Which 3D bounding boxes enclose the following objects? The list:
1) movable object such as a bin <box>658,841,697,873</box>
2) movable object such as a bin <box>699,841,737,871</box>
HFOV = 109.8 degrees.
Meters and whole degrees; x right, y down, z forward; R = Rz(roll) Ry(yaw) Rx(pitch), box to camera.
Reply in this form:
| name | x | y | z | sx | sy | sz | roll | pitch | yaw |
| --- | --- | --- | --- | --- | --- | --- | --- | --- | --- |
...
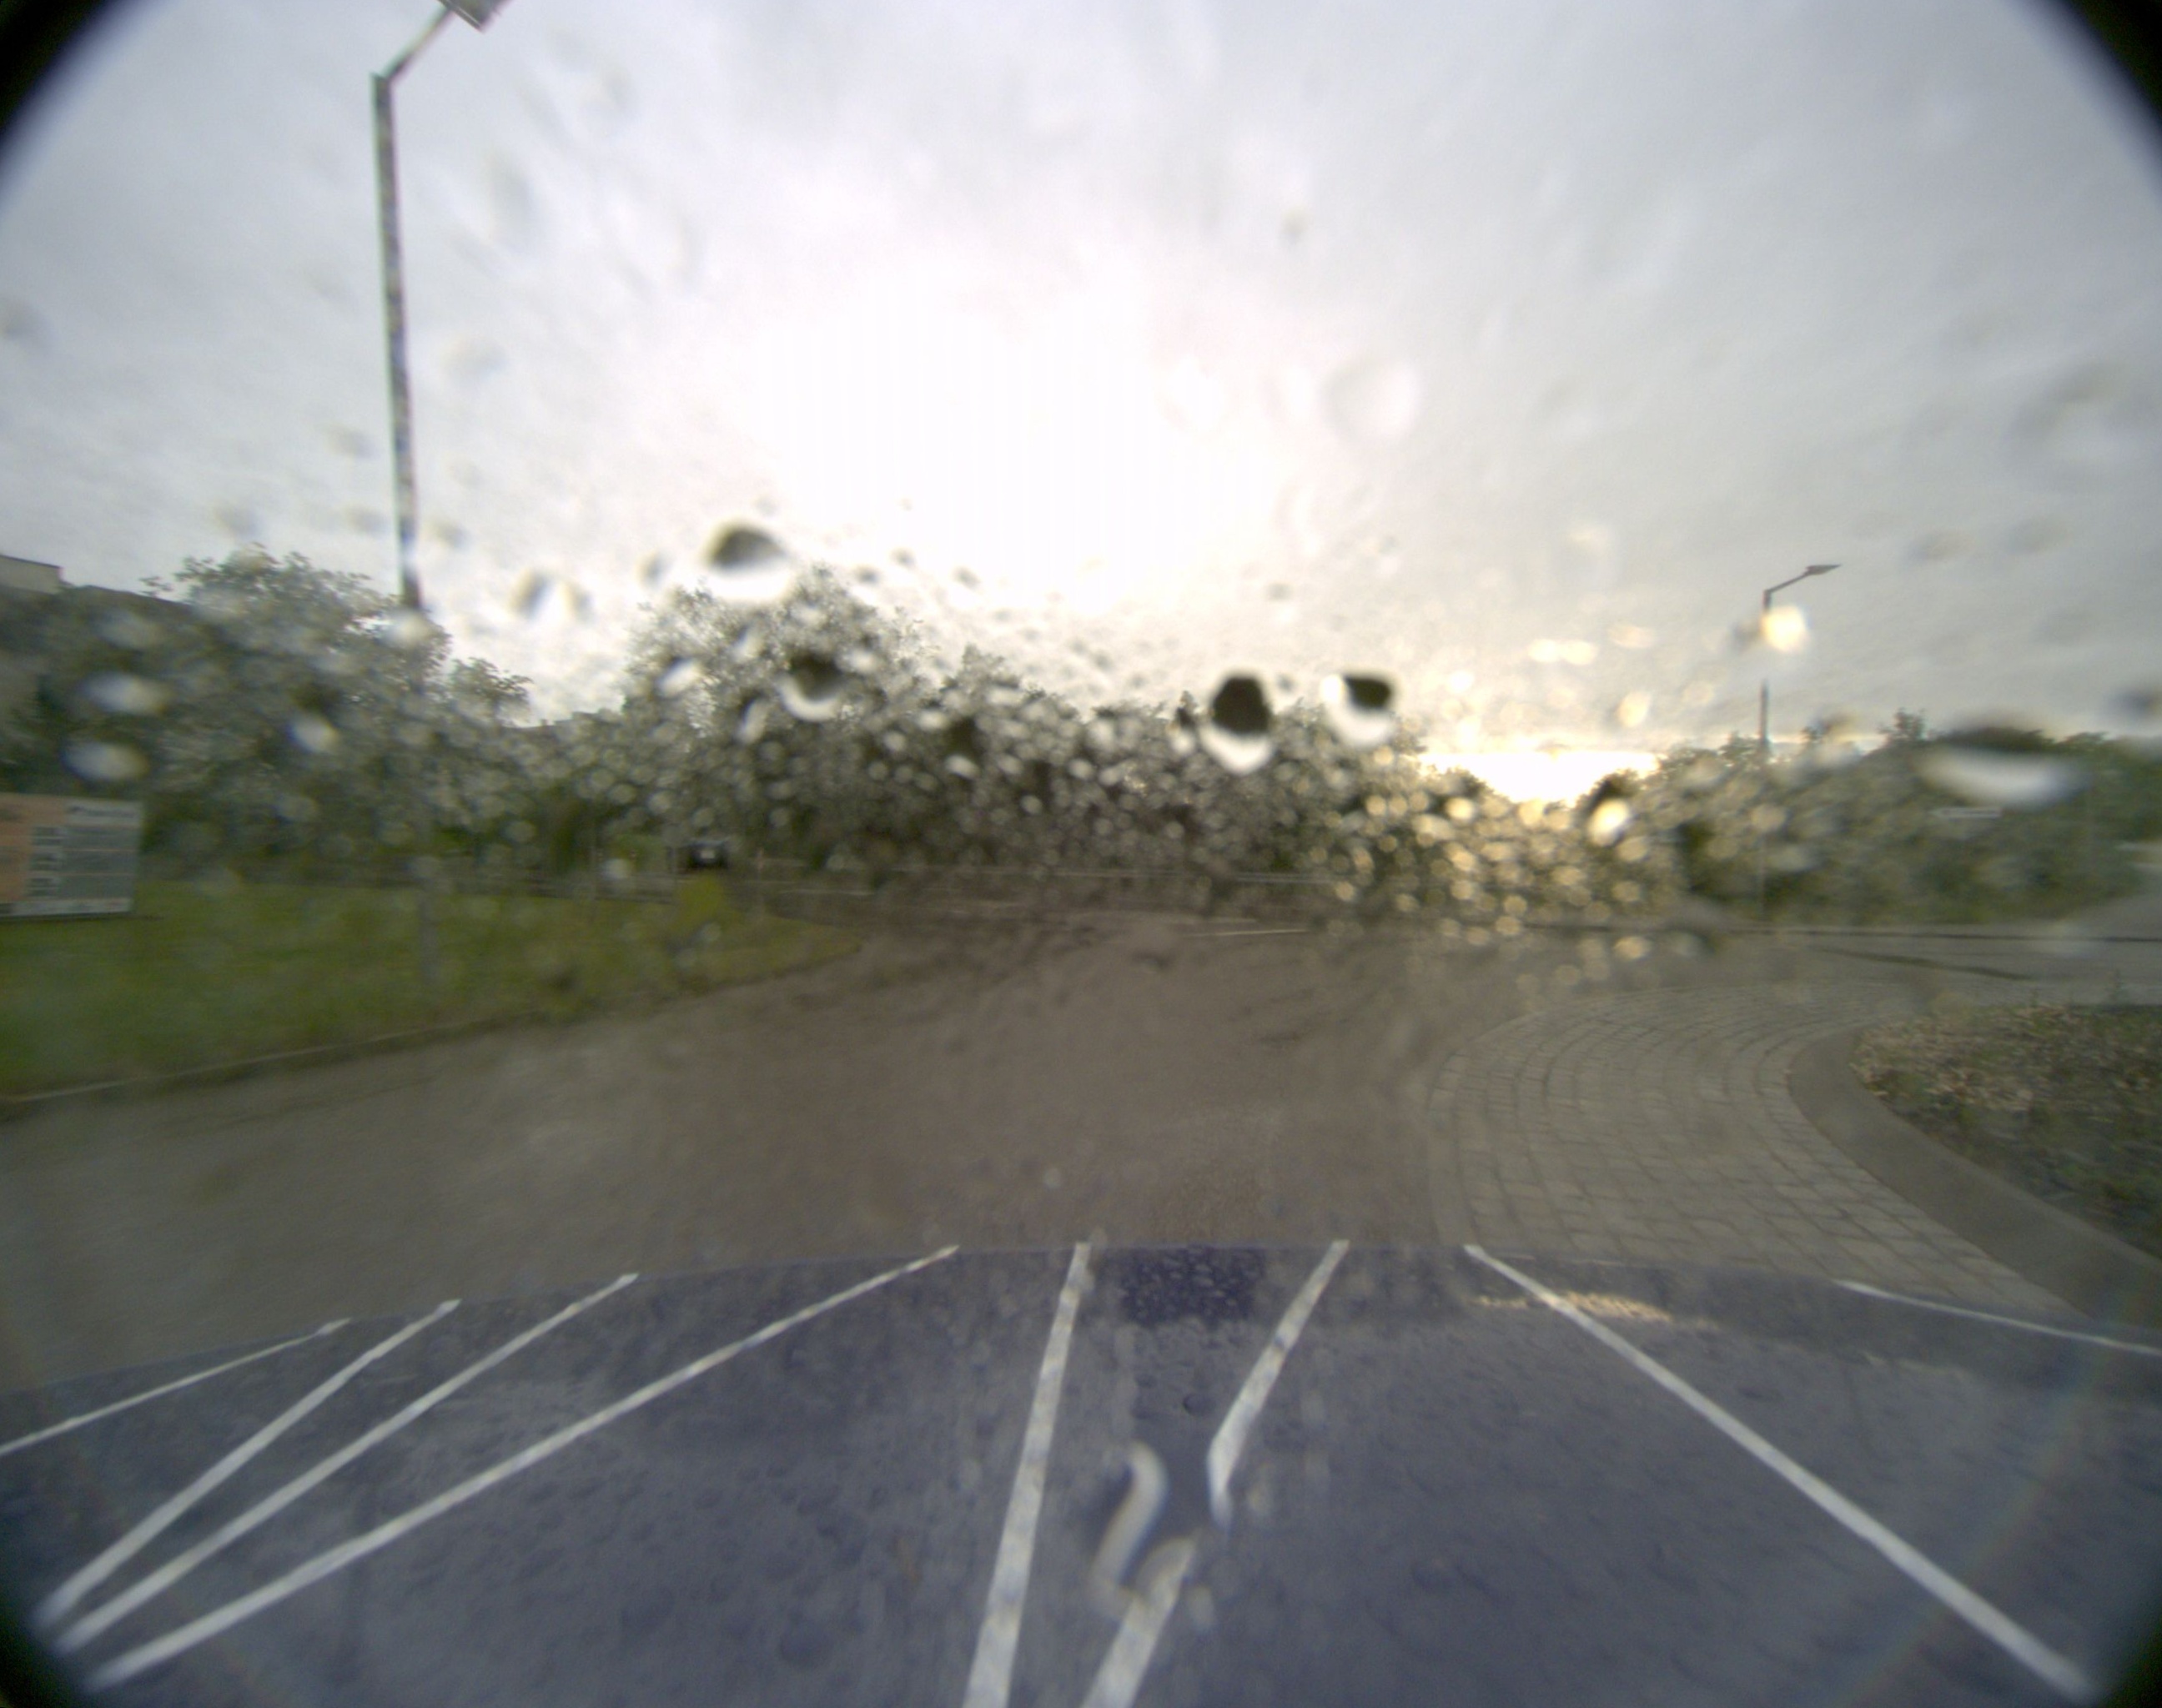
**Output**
| name | x | y | z | sx | sy | sz | roll | pitch | yaw |
| --- | --- | --- | --- | --- | --- | --- | --- | --- | --- |
| movable object such as a bin | -18.888 | 0.124 | 35.619 | 1.073 | 1.429 | 1.198 | 1 | 3 | 12 |
| movable object such as a bin | -17.133 | 0.068 | 35.913 | 1.073 | 1.335 | 1.198 | 1 | 4 | 11 |
